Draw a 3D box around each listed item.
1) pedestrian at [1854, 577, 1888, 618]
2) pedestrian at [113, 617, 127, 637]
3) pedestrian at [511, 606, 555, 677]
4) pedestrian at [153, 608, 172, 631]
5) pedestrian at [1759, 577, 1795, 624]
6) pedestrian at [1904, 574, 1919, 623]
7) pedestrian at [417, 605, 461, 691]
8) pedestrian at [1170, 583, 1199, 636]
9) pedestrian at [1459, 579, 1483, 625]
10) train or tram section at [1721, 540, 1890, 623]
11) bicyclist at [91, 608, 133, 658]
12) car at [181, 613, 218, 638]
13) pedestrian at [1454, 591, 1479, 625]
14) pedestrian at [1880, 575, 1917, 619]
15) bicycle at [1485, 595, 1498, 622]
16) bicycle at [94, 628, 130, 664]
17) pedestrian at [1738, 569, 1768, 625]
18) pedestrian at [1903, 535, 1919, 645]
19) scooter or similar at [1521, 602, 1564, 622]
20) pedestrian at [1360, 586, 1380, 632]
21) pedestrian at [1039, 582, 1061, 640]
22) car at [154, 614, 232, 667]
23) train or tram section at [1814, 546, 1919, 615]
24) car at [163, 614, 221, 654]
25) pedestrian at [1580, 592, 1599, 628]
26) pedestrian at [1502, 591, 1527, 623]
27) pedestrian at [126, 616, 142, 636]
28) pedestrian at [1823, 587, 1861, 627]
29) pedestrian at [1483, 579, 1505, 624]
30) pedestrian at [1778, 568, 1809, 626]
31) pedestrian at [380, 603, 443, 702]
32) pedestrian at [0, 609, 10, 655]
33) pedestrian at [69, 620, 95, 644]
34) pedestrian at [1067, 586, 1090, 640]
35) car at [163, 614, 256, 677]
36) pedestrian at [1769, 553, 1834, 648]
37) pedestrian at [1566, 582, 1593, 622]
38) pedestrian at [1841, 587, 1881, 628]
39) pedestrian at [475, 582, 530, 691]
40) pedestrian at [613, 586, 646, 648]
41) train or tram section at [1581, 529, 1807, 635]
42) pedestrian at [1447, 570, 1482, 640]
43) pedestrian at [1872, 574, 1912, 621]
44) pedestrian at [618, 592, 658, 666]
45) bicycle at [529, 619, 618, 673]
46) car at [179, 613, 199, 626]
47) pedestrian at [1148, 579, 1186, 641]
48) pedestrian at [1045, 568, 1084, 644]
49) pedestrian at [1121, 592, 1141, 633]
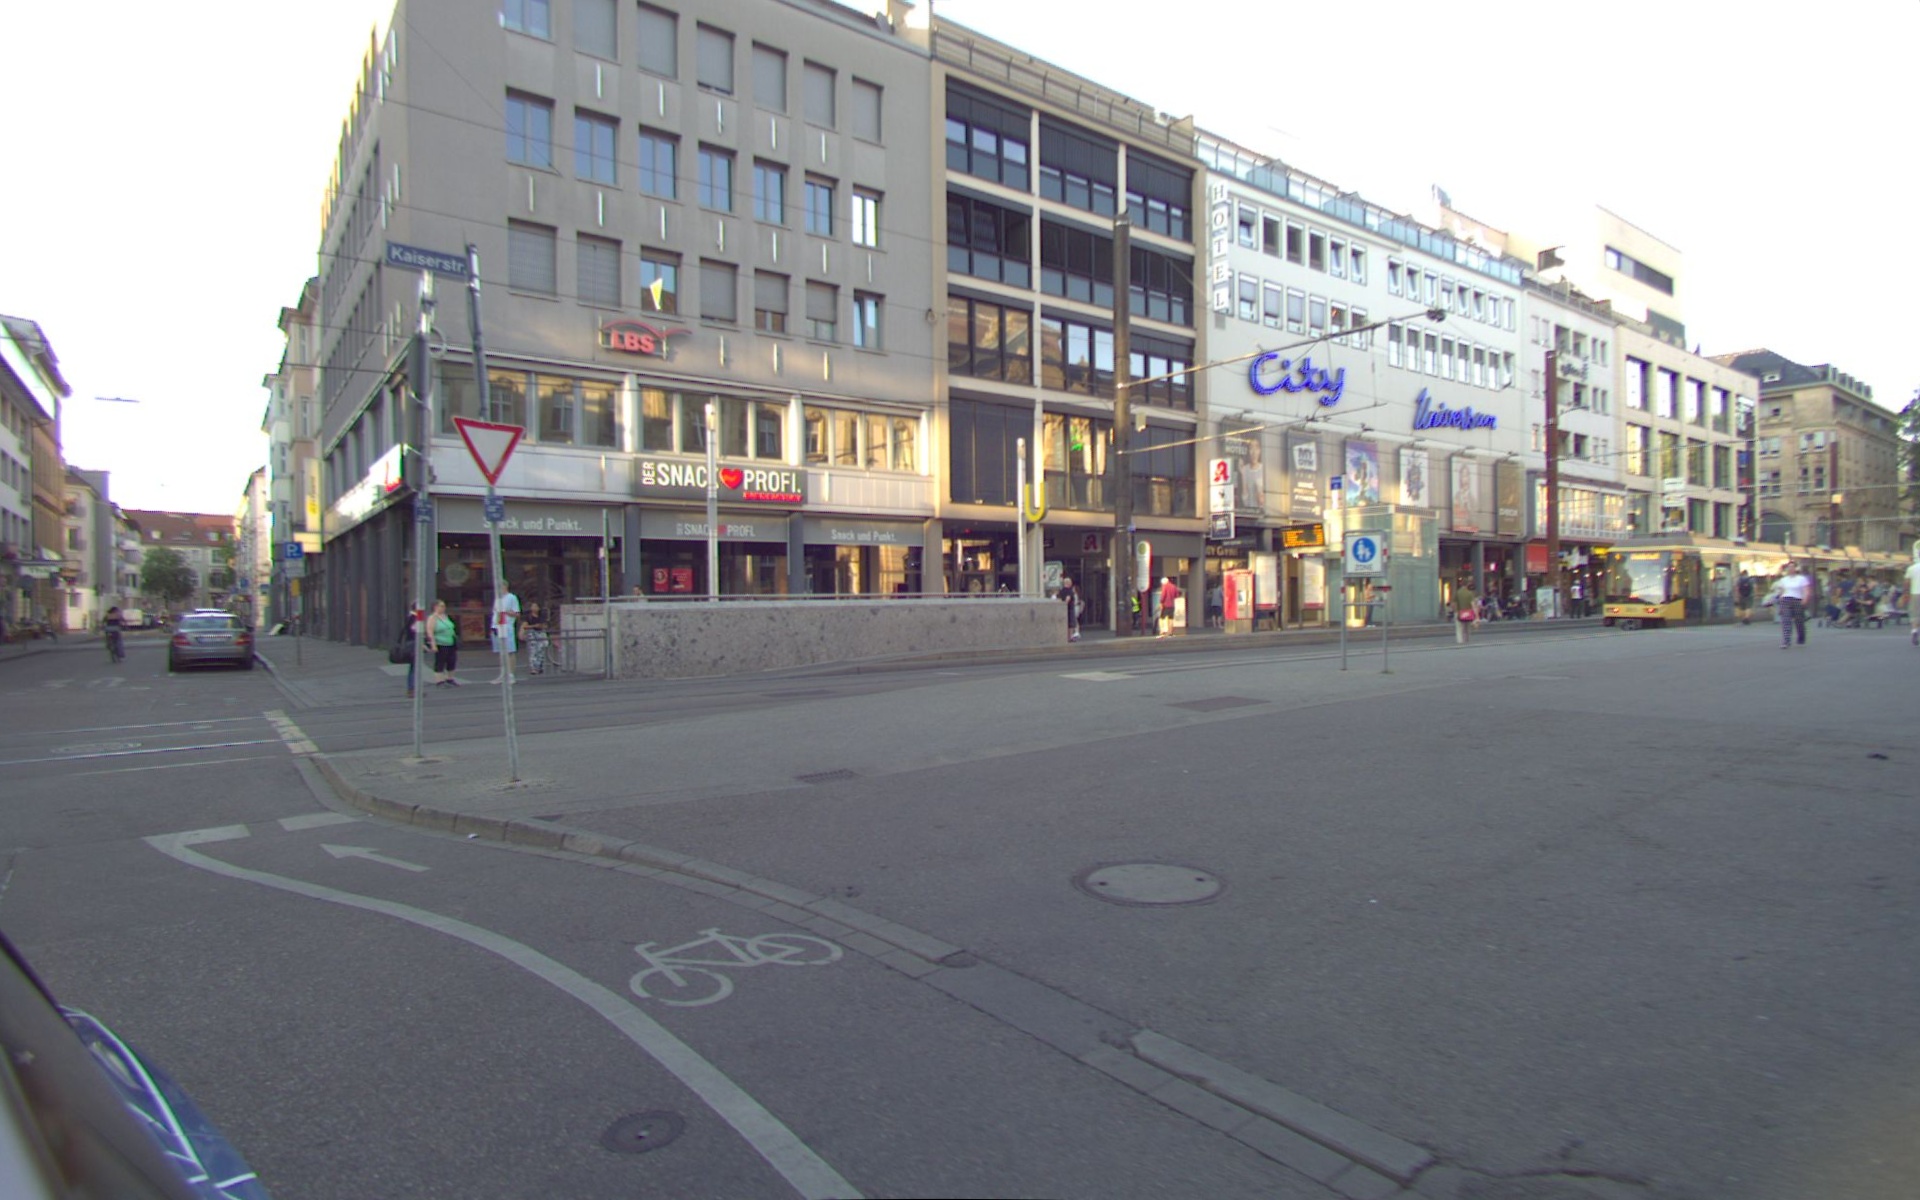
[{"bbox_3d":[38.043,-0.110,42.252,0.781,1.674,0.772,-1,0,-25],"label":"pedestrian"},{"bbox_3d":[-71.768,2.275,86.435,0.857,1.674,0.933,-1,0,-37],"label":"pedestrian"},{"bbox_3d":[-8.785,0.851,20.833,0.676,1.445,0.555,0,-1,1],"label":"pedestrian"},{"bbox_3d":[-58.471,1.441,74.210,0.856,1.674,0.934,-1,0,-21],"label":"pedestrian"},{"bbox_3d":[27.865,0.027,34.521,0.757,1.591,0.796,-1,0,-39],"label":"pedestrian"},{"bbox_3d":[32.863,-0.050,34.459,0.756,1.674,0.797,-1,0,-27],"label":"pedestrian"},{"bbox_3d":[-9.239,0.839,17.953,0.547,1.505,0.606,1,-2,-45],"label":"pedestrian"},{"bbox_3d":[6.881,0.302,31.045,0.595,1.600,0.630,0,-1,-20],"label":"pedestrian"},{"bbox_3d":[19.623,0.100,38.871,0.705,1.738,0.769,-1,-1,22],"label":"pedestrian"},{"bbox_3d":[38.860,-0.829,46.196,14.273,3.344,2.815,-1,0,-38],"label":"train or tram section"},{"bbox_3d":[-26.433,1.032,31.564,0.984,1.513,0.859,0,-1,-39],"label":"bicyclist"},{"bbox_3d":[-47.194,1.557,62.839,1.770,1.522,4.009,0,-1,-36],"label":"car"},{"bbox_3d":[21.268,0.336,42.485,0.709,1.389,0.711,0,-1,-38],"label":"pedestrian"},{"bbox_3d":[36.689,-0.111,39.564,0.756,1.674,0.797,-1,0,-25],"label":"pedestrian"},{"bbox_3d":[23.258,0.375,44.271,0.432,1.150,1.602,-1,0,28],"label":"bicycle"},{"bbox_3d":[-26.444,1.422,31.583,0.804,1.081,2.117,0,-1,-39],"label":"bicycle"},{"bbox_3d":[26.211,-0.095,33.444,0.735,1.837,0.809,-1,0,39],"label":"pedestrian"},{"bbox_3d":[18.205,-0.189,18.827,0.902,2.029,0.775,0,0,-34],"label":"pedestrian"},{"bbox_3d":[25.102,0.531,43.652,1.505,0.837,0.559,0,-1,2],"label":"scooter or similar"},{"bbox_3d":[14.505,0.326,35.814,0.513,1.630,0.498,-1,-2,44],"label":"pedestrian"},{"bbox_3d":[2.729,0.338,30.725,0.621,1.738,0.603,-1,-1,10],"label":"pedestrian"},{"bbox_3d":[-23.674,1.198,31.184,1.771,1.522,4.141,0,-1,-39],"label":"car"},{"bbox_3d":[50.160,-1.019,54.912,14.273,3.344,2.815,-1,0,-38],"label":"train or tram section"},{"bbox_3d":[-31.353,1.350,41.384,1.770,1.522,4.009,0,-1,-36],"label":"car"},{"bbox_3d":[30.440,0.481,48.940,0.599,1.740,0.603,1,-2,-44],"label":"pedestrian"},{"bbox_3d":[24.324,0.320,44.381,0.709,1.389,0.711,0,-1,-38],"label":"pedestrian"},{"bbox_3d":[-70.915,2.241,86.878,0.962,1.674,0.980,-1,0,-37],"label":"pedestrian"},{"bbox_3d":[27.704,0.213,31.796,0.757,1.230,0.796,-1,0,-40],"label":"pedestrian"},{"bbox_3d":[21.060,0.069,39.925,0.705,1.738,0.769,-1,-1,24],"label":"pedestrian"},{"bbox_3d":[26.672,-0.098,32.399,0.735,1.837,0.809,-1,0,39],"label":"pedestrian"},{"bbox_3d":[-8.815,0.832,16.278,0.679,1.553,0.603,-1,-1,11],"label":"pedestrian"},{"bbox_3d":[-35.001,1.163,36.546,0.857,1.674,0.933,-1,0,-34],"label":"pedestrian"},{"bbox_3d":[-63.606,2.318,73.301,1.278,1.674,1.017,-1,0,-35],"label":"pedestrian"},{"bbox_3d":[3.581,0.399,30.596,0.621,1.600,0.603,-1,-1,11],"label":"pedestrian"},{"bbox_3d":[-19.787,1.132,26.623,1.771,1.522,4.141,0,-1,-39],"label":"car"},{"bbox_3d":[16.762,0.023,20.150,0.925,1.837,0.776,0,-2,-40],"label":"pedestrian"},{"bbox_3d":[27.059,0.102,44.202,0.698,1.738,0.777,0,-1,-37],"label":"pedestrian"},{"bbox_3d":[27.433,0.235,30.828,0.757,1.230,0.796,-1,0,-40],"label":"pedestrian"},{"bbox_3d":[-8.411,0.658,18.599,0.699,1.941,0.776,1,-2,-45],"label":"pedestrian"},{"bbox_3d":[-9.433,0.484,28.857,0.698,1.738,0.717,1,-1,-39],"label":"pedestrian"},{"bbox_3d":[27.556,-0.642,37.486,14.273,3.344,2.815,-1,0,-38],"label":"train or tram section"},{"bbox_3d":[12.778,0.135,25.624,0.718,1.738,0.702,-1,-1,31],"label":"pedestrian"},{"bbox_3d":[33.325,-0.091,36.185,0.756,1.674,0.797,-1,0,-25],"label":"pedestrian"},{"bbox_3d":[-7.704,0.688,24.204,0.698,1.738,0.717,1,-1,-39],"label":"pedestrian"},{"bbox_3d":[-8.742,1.022,22.919,1.770,1.116,0.501,-2,0,-32],"label":"bicycle"},{"bbox_3d":[-93.153,2.399,122.324,1.770,1.522,4.009,0,-1,-36],"label":"car"},{"bbox_3d":[5.834,0.274,28.526,0.772,1.710,0.718,0,-1,-25],"label":"pedestrian"},{"bbox_3d":[2.749,0.159,26.566,0.698,1.939,0.717,1,-2,-42],"label":"pedestrian"},{"bbox_3d":[6.428,0.471,38.002,0.510,1.559,0.510,1,-2,-45],"label":"pedestrian"}]
